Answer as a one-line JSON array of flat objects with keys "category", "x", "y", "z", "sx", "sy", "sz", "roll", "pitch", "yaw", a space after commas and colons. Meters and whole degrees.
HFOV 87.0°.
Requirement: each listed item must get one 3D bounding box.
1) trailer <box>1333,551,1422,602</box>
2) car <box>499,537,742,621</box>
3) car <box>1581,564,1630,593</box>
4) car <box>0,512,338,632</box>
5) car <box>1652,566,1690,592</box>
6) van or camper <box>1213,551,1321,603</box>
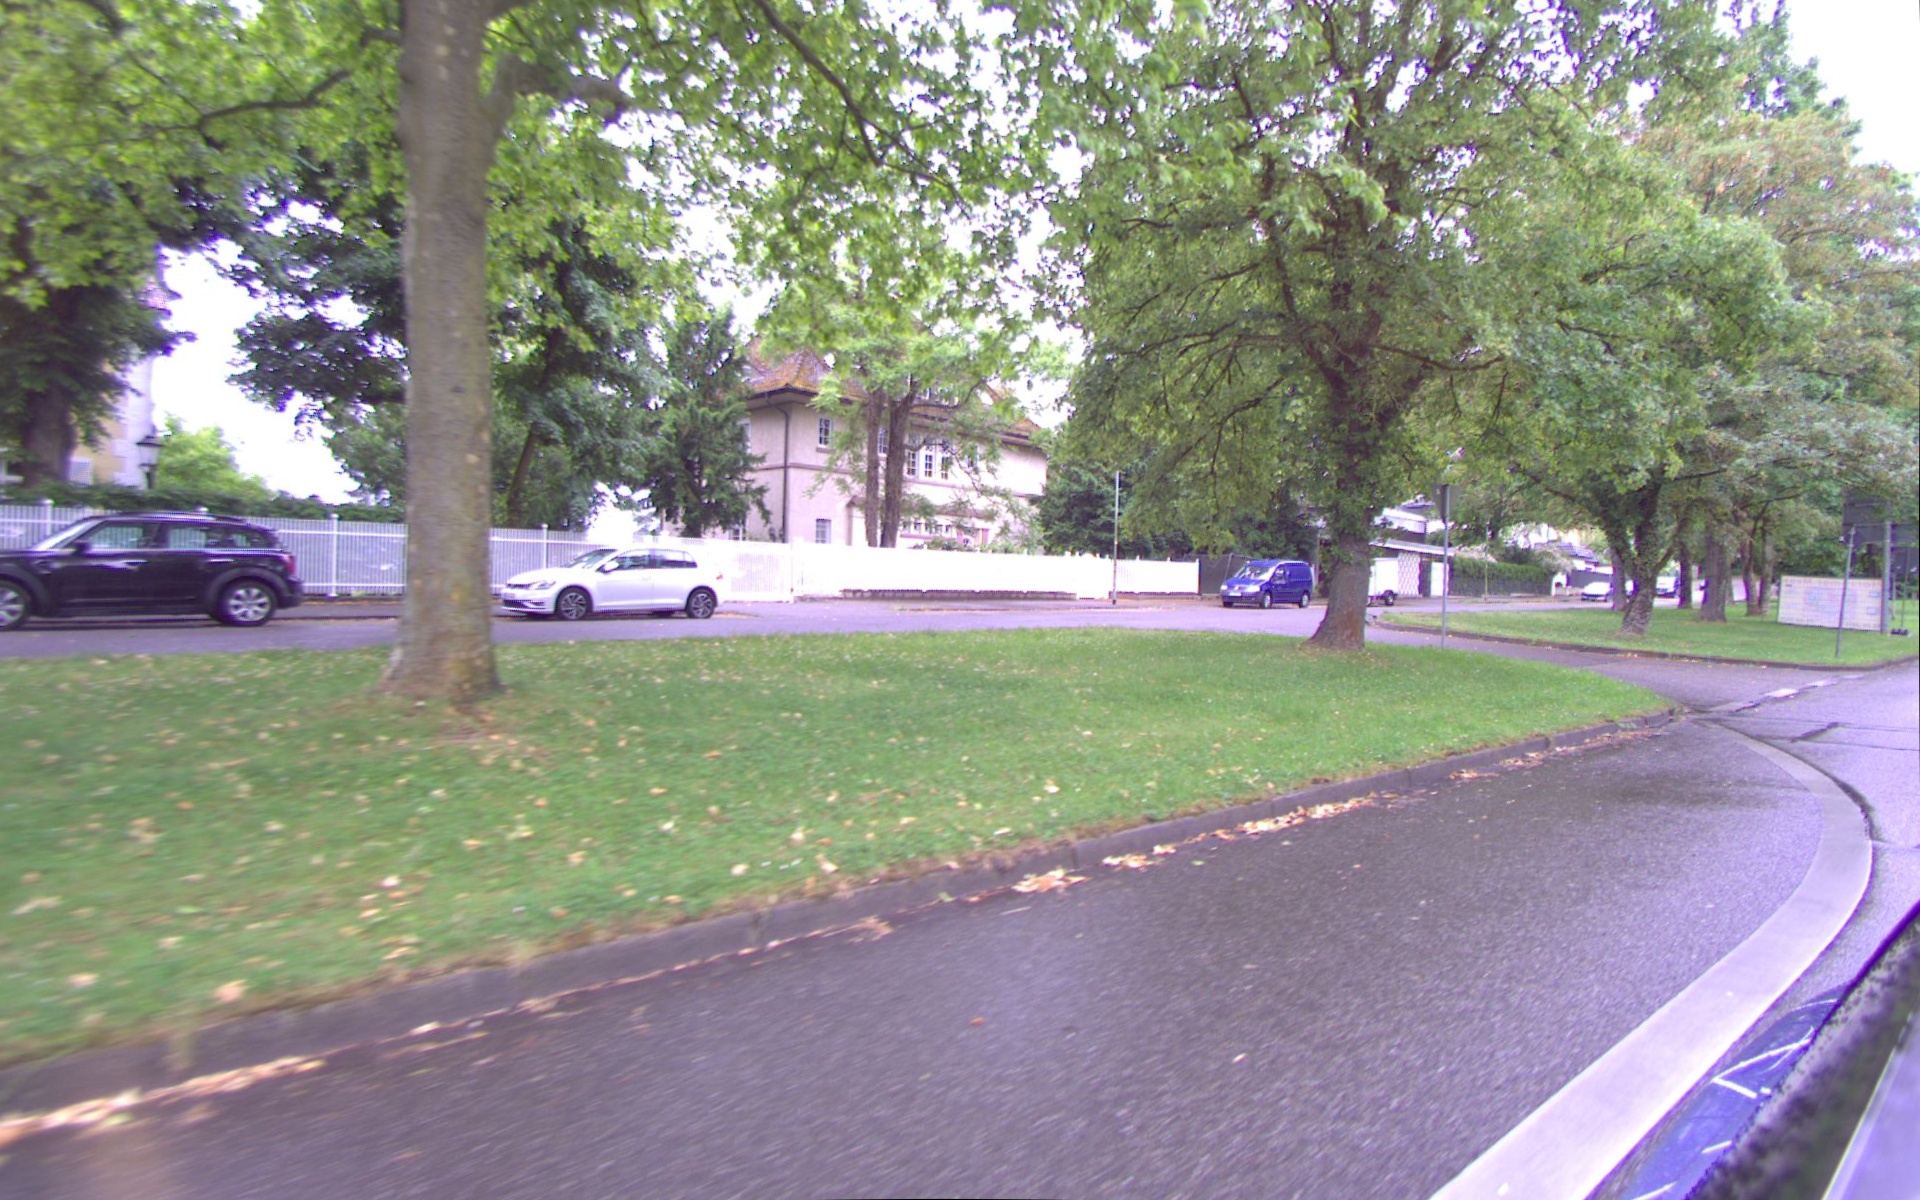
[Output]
[{"category": "trailer", "x": 18.412, "y": -1.002, "z": 44.530, "sx": 5.108, "sy": 2.143, "sz": 1.767, "roll": -1, "pitch": 1, "yaw": -44}, {"category": "car", "x": -6.548, "y": -0.400, "z": 19.766, "sx": 1.994, "sy": 1.467, "sz": 4.058, "roll": 0, "pitch": 1, "yaw": 45}, {"category": "car", "x": 47.270, "y": -1.585, "z": 74.091, "sx": 3.932, "sy": 2.038, "sz": 1.997, "roll": -1, "pitch": 3, "yaw": -42}, {"category": "car", "x": -11.464, "y": -0.372, "z": 14.452, "sx": 1.994, "sy": 1.489, "sz": 4.058, "roll": 0, "pitch": 1, "yaw": 45}, {"category": "car", "x": 63.709, "y": -1.864, "z": 90.682, "sx": 3.933, "sy": 2.039, "sz": 1.996, "roll": 2, "pitch": 1, "yaw": -44}, {"category": "van or camper", "x": 11.589, "y": -0.838, "z": 38.011, "sx": 1.993, "sy": 1.831, "sz": 4.701, "roll": 0, "pitch": 1, "yaw": 43}]
